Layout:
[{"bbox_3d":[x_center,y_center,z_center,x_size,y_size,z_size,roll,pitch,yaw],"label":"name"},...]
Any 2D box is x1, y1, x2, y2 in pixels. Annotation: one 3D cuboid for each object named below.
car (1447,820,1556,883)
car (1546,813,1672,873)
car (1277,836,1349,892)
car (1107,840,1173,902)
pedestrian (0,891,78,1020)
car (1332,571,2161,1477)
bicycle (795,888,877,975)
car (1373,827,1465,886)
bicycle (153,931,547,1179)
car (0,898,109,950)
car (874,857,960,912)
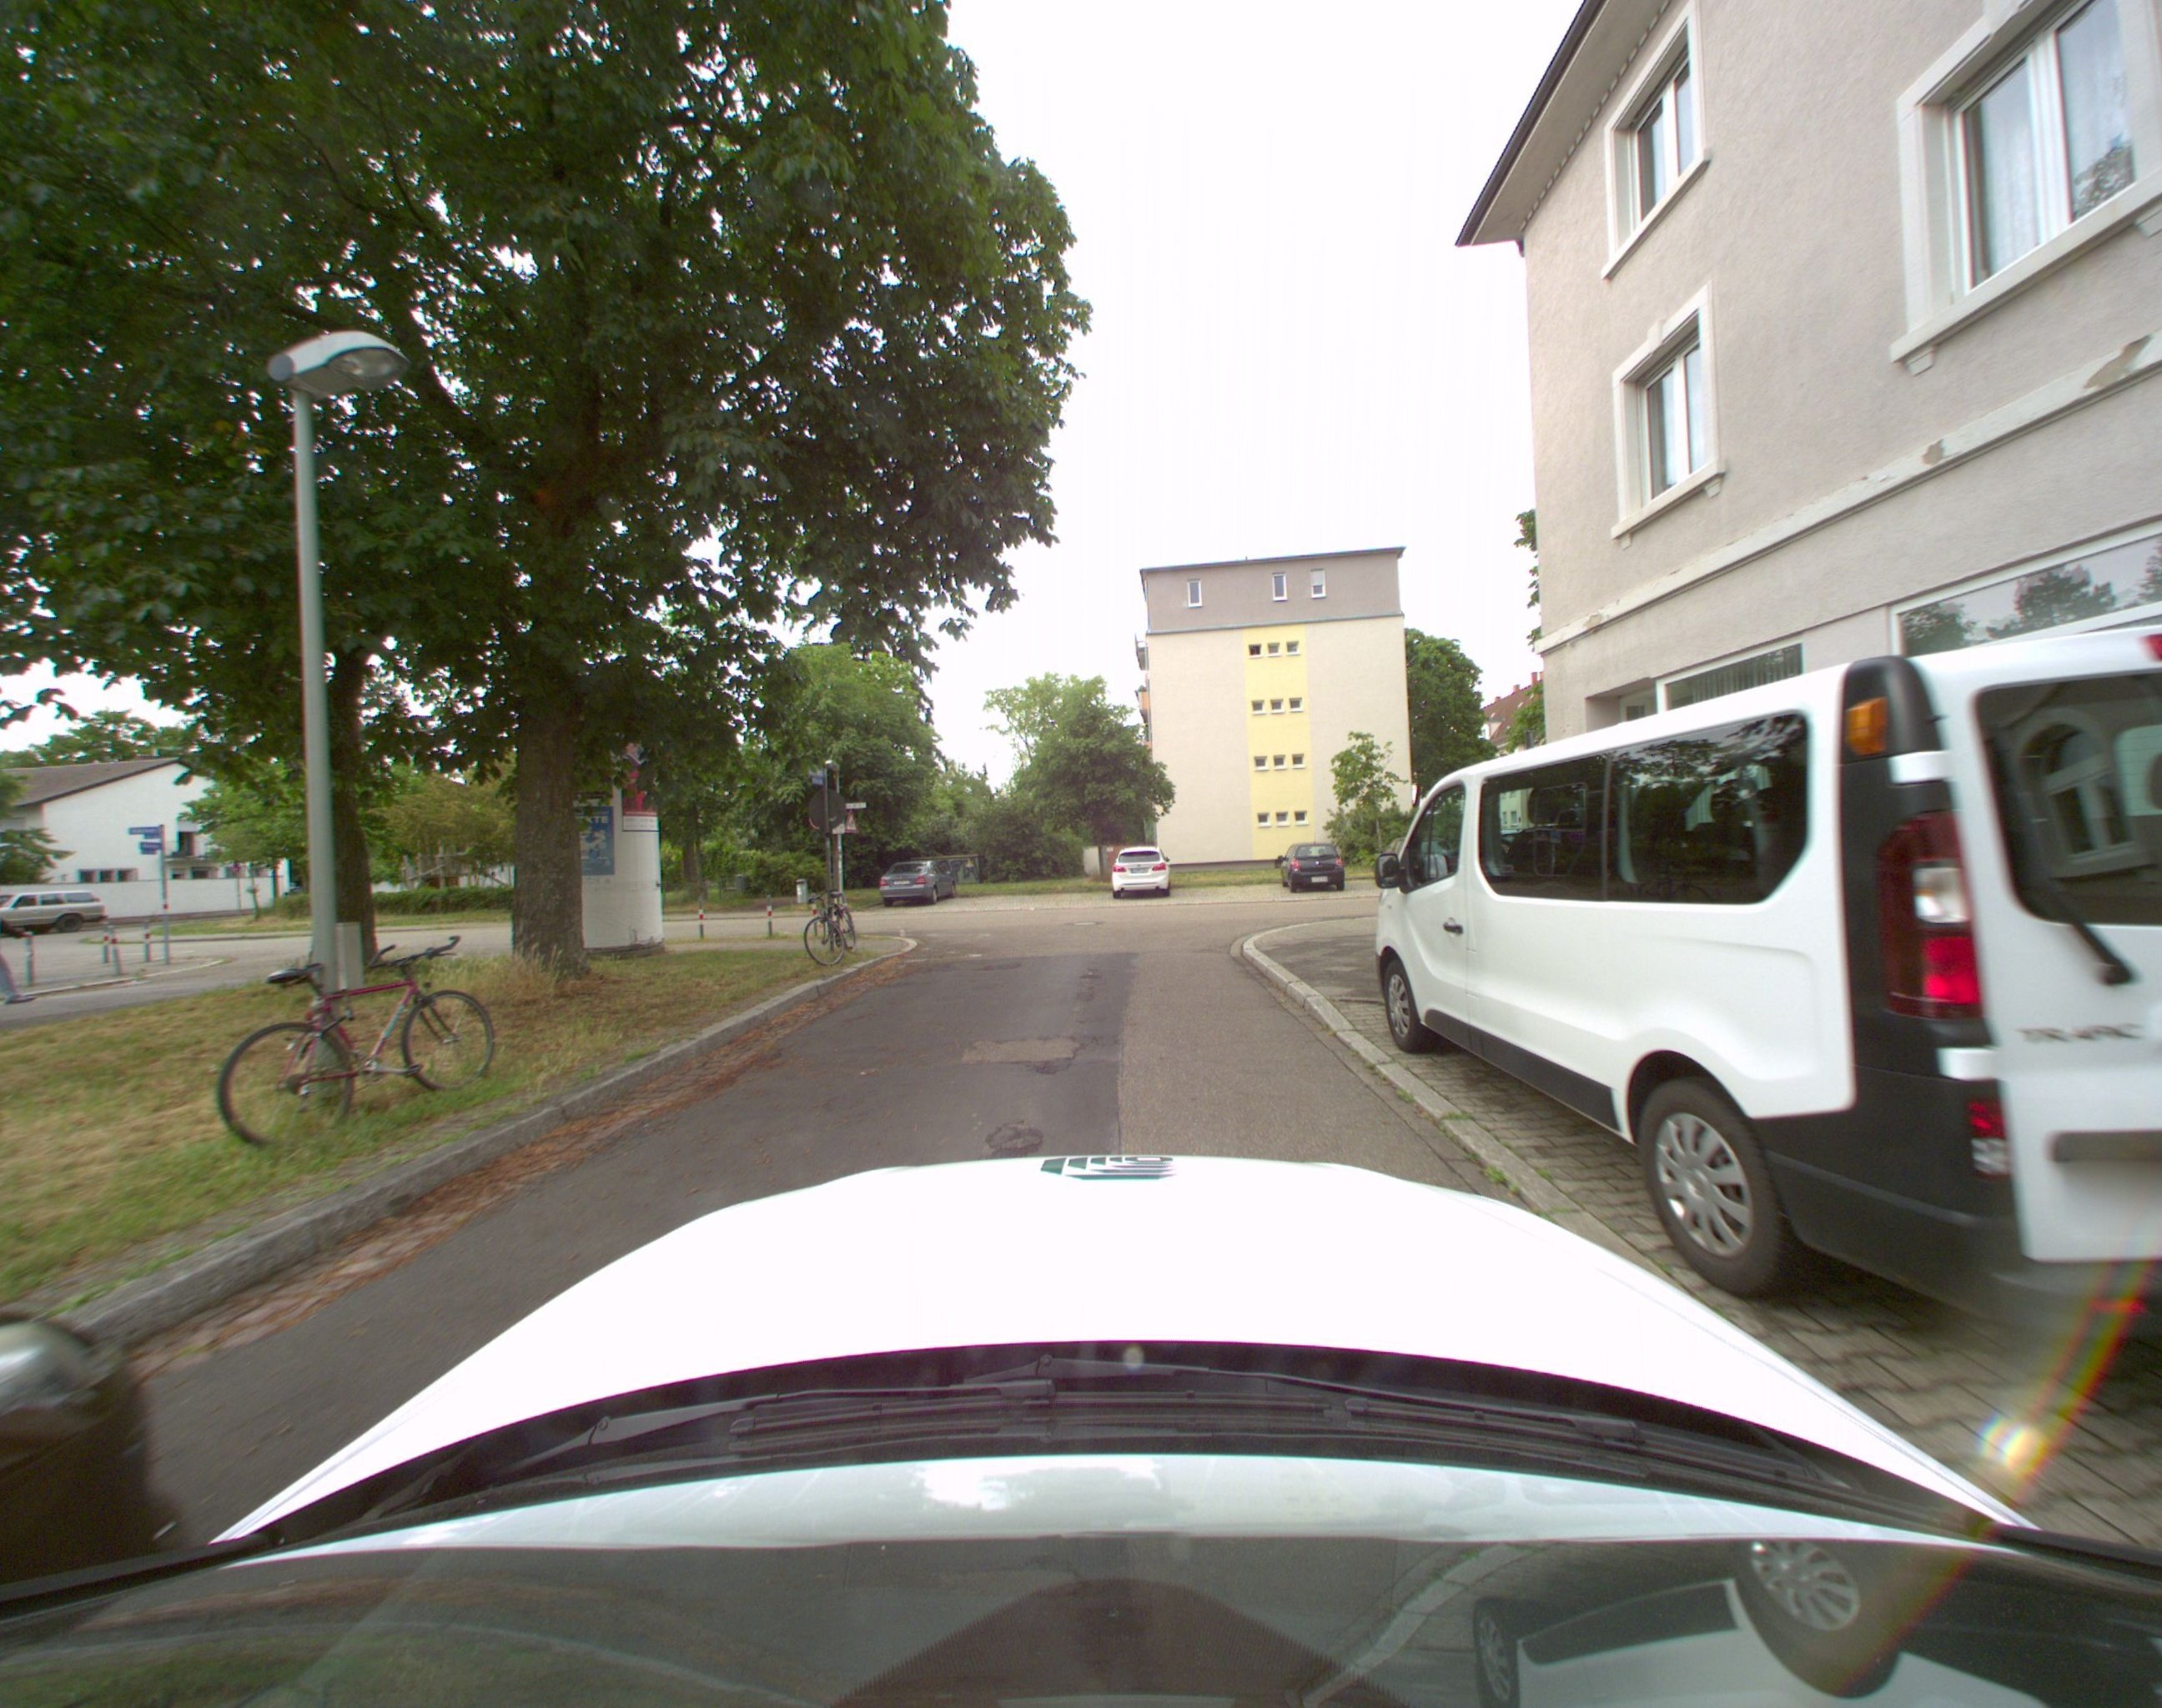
[{"bbox_3d":[12.820,-0.152,25.097,1.898,1.697,4.082,-3,2,11],"label":"car"},{"bbox_3d":[15.996,-0.346,24.906,1.813,1.577,3.854,-4,1,10],"label":"car"},{"bbox_3d":[7.356,0.236,26.183,1.823,1.463,4.576,-3,2,11],"label":"car"},{"bbox_3d":[2.016,0.479,26.686,1.868,1.560,4.160,-2,4,8],"label":"car"},{"bbox_3d":[-16.169,1.529,12.175,1.225,1.836,0.869,-4,1,-37],"label":"pedestrian"},{"bbox_3d":[2.989,0.278,4.299,1.871,1.995,5.016,-4,1,3],"label":"car"},{"bbox_3d":[-3.500,1.068,11.828,0.509,0.985,2.182,-1,1,0],"label":"bicycle"},{"bbox_3d":[10.492,0.018,25.586,1.823,1.565,4.372,-3,2,11],"label":"car"},{"bbox_3d":[-4.473,1.155,5.234,0.662,1.066,1.888,-3,1,5],"label":"bicycle"},{"bbox_3d":[-45.398,3.021,34.856,1.985,1.859,4.499,-1,1,4],"label":"car"},{"bbox_3d":[-5.449,0.953,27.598,1.667,1.454,4.565,-3,2,3],"label":"car"}]
